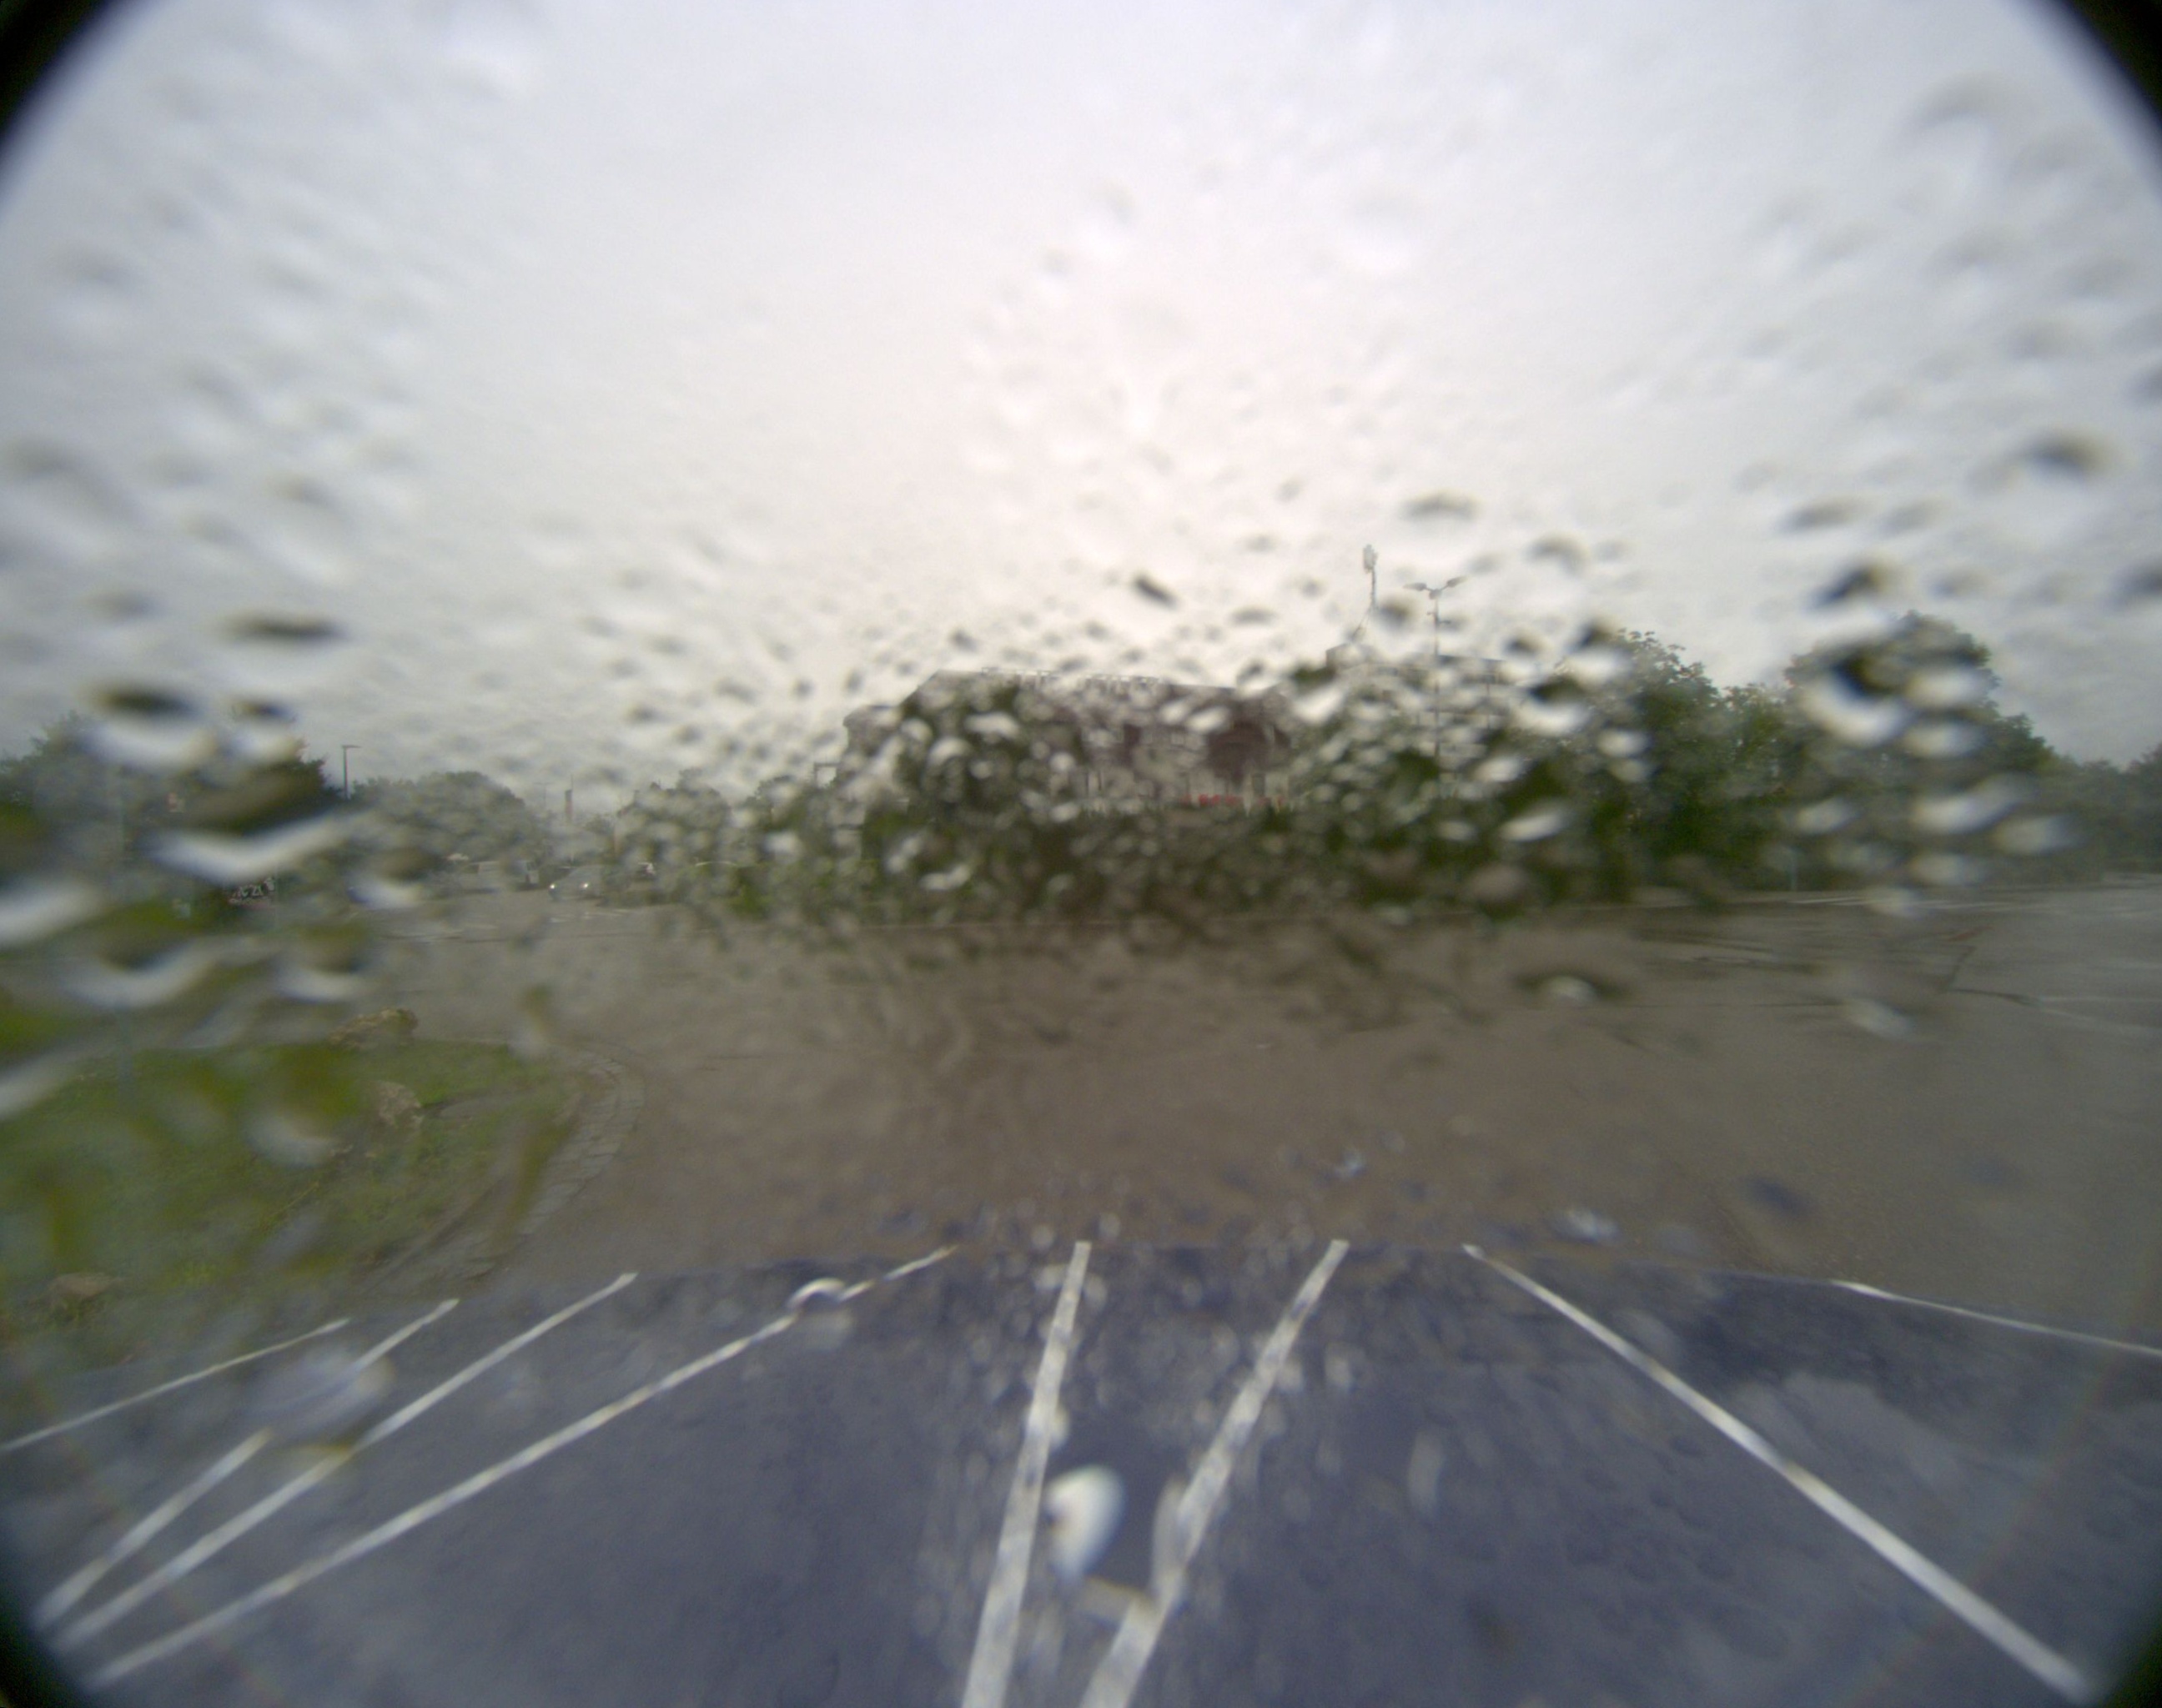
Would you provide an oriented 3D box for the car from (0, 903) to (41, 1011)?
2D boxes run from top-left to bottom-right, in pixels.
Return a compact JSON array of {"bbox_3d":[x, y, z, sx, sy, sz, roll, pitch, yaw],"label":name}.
[{"bbox_3d":[-18.037,1.642,10.124,4.504,1.565,1.996,-3,2,-20],"label":"car"}]

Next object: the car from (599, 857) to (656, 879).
[{"bbox_3d":[-35.918,1.141,60.211,3.880,1.561,1.752,-2,1,21],"label":"car"}]

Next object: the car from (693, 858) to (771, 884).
[{"bbox_3d":[-22.114,1.048,48.326,4.364,1.417,1.847,-2,1,-20],"label":"car"}]

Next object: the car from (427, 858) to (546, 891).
[{"bbox_3d":[-37.127,1.254,47.635,5.381,1.712,1.997,-3,1,-19],"label":"car"}]

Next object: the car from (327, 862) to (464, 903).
[{"bbox_3d":[-34.270,1.372,38.167,4.613,1.712,1.997,-3,1,-19],"label":"car"}]

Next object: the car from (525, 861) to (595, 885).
[{"bbox_3d":[-37.967,1.396,55.382,4.638,1.541,2.003,-2,1,24],"label":"car"}]

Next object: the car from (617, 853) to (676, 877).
[{"bbox_3d":[-35.582,0.914,62.259,3.991,1.718,1.993,-2,1,20],"label":"car"}]

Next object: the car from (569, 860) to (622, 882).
[{"bbox_3d":[-37.102,1.301,58.096,3.717,1.540,1.669,-2,1,26],"label":"car"}]

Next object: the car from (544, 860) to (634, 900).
[{"bbox_3d":[-21.823,1.112,33.891,1.706,1.417,4.355,-2,2,-10],"label":"car"}]
